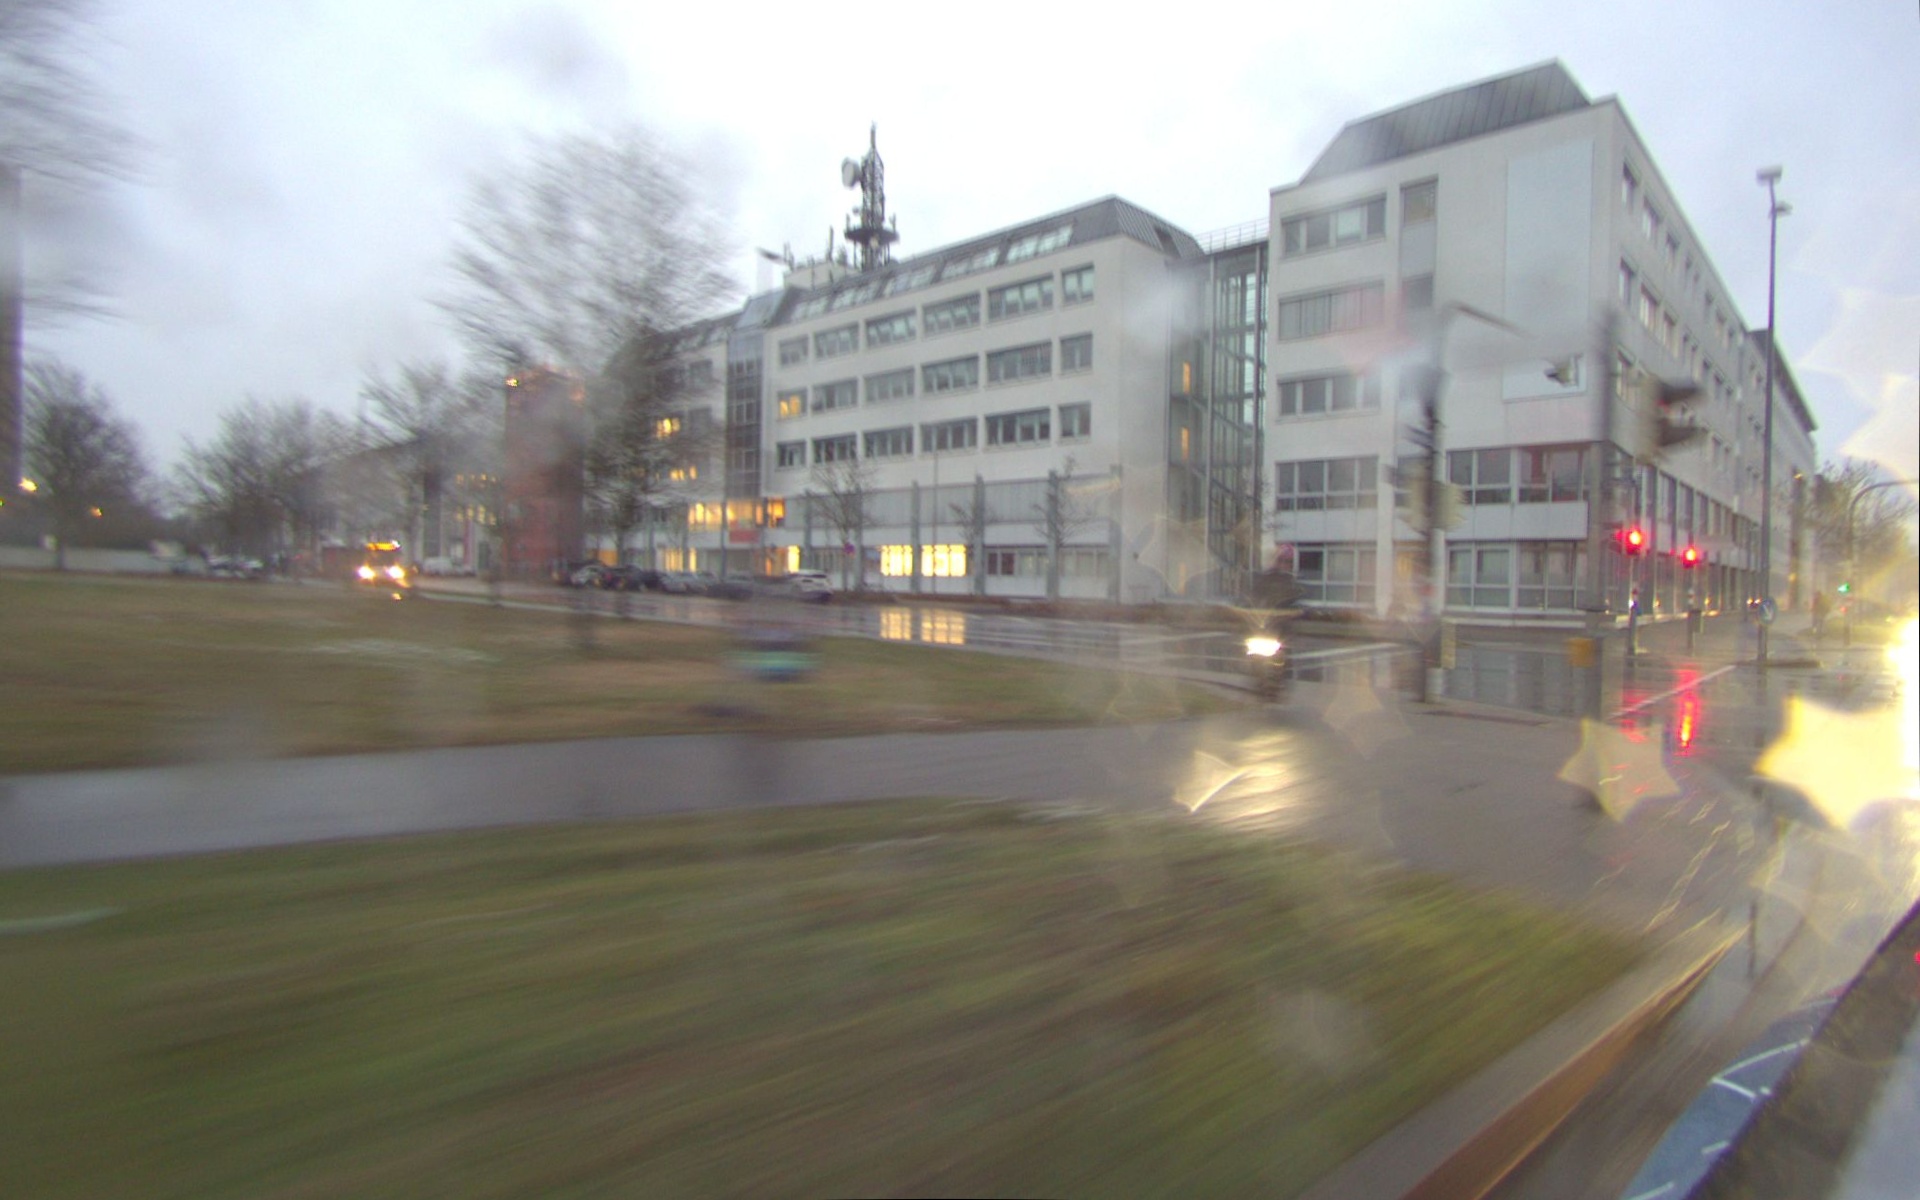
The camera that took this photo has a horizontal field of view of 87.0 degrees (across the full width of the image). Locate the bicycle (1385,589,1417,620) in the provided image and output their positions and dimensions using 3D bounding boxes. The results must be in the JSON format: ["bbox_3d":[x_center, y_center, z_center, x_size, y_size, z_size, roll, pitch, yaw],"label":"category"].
[{"bbox_3d":[16.595,0.154,38.070,0.470,1.118,1.846,3,2,43],"label":"bicycle"}]

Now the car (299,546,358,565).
[{"bbox_3d":[-52.637,-3.688,84.367,3.931,1.497,1.833,-2,1,-41],"label":"car"}]

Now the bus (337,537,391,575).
[{"bbox_3d":[-47.377,-3.420,80.311,2.257,2.746,8.134,-1,1,-41],"label":"bus"}]

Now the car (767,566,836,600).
[{"bbox_3d":[-8.173,-0.860,51.973,1.968,1.657,3.270,-2,1,-45],"label":"car"}]

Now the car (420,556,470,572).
[{"bbox_3d":[-47.332,-3.305,93.078,3.803,1.472,1.667,-2,1,-44],"label":"car"}]

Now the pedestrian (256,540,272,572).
[{"bbox_3d":[-44.809,-2.820,65.155,0.788,2.039,0.640,-1,1,-40],"label":"pedestrian"}]

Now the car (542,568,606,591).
[{"bbox_3d":[-27.923,-1.494,73.359,1.602,1.548,4.059,0,1,44],"label":"car"}]

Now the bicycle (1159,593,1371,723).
[{"bbox_3d":[3.327,0.581,11.133,1.961,1.231,1.025,3,1,41],"label":"bicycle"}]

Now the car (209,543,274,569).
[{"bbox_3d":[-57.502,-3.493,81.011,4.204,2.039,1.999,-2,1,-37],"label":"car"}]

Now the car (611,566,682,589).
[{"bbox_3d":[-20.457,-1.505,66.114,1.767,1.439,4.069,0,1,44],"label":"car"}]

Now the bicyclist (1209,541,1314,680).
[{"bbox_3d":[3.323,0.093,11.137,0.911,1.448,0.752,-1,1,-44],"label":"bicyclist"}]

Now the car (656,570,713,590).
[{"bbox_3d":[-16.819,-1.222,61.635,3.704,1.199,1.519,0,1,40],"label":"car"}]

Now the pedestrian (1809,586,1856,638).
[{"bbox_3d":[31.149,0.418,36.137,0.843,1.771,0.801,3,4,-19],"label":"pedestrian"}]

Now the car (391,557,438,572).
[{"bbox_3d":[-54.339,-3.496,100.800,3.803,1.472,1.667,-2,1,-44],"label":"car"}]

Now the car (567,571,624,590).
[{"bbox_3d":[-25.933,-1.375,71.999,1.700,1.330,3.442,0,1,44],"label":"car"}]

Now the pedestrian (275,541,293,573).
[{"bbox_3d":[-43.885,-2.757,65.710,0.749,2.039,0.802,0,1,45],"label":"pedestrian"}]

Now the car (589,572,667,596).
[{"bbox_3d":[-22.520,-1.105,68.823,4.734,1.575,1.768,-2,1,-44],"label":"car"}]
